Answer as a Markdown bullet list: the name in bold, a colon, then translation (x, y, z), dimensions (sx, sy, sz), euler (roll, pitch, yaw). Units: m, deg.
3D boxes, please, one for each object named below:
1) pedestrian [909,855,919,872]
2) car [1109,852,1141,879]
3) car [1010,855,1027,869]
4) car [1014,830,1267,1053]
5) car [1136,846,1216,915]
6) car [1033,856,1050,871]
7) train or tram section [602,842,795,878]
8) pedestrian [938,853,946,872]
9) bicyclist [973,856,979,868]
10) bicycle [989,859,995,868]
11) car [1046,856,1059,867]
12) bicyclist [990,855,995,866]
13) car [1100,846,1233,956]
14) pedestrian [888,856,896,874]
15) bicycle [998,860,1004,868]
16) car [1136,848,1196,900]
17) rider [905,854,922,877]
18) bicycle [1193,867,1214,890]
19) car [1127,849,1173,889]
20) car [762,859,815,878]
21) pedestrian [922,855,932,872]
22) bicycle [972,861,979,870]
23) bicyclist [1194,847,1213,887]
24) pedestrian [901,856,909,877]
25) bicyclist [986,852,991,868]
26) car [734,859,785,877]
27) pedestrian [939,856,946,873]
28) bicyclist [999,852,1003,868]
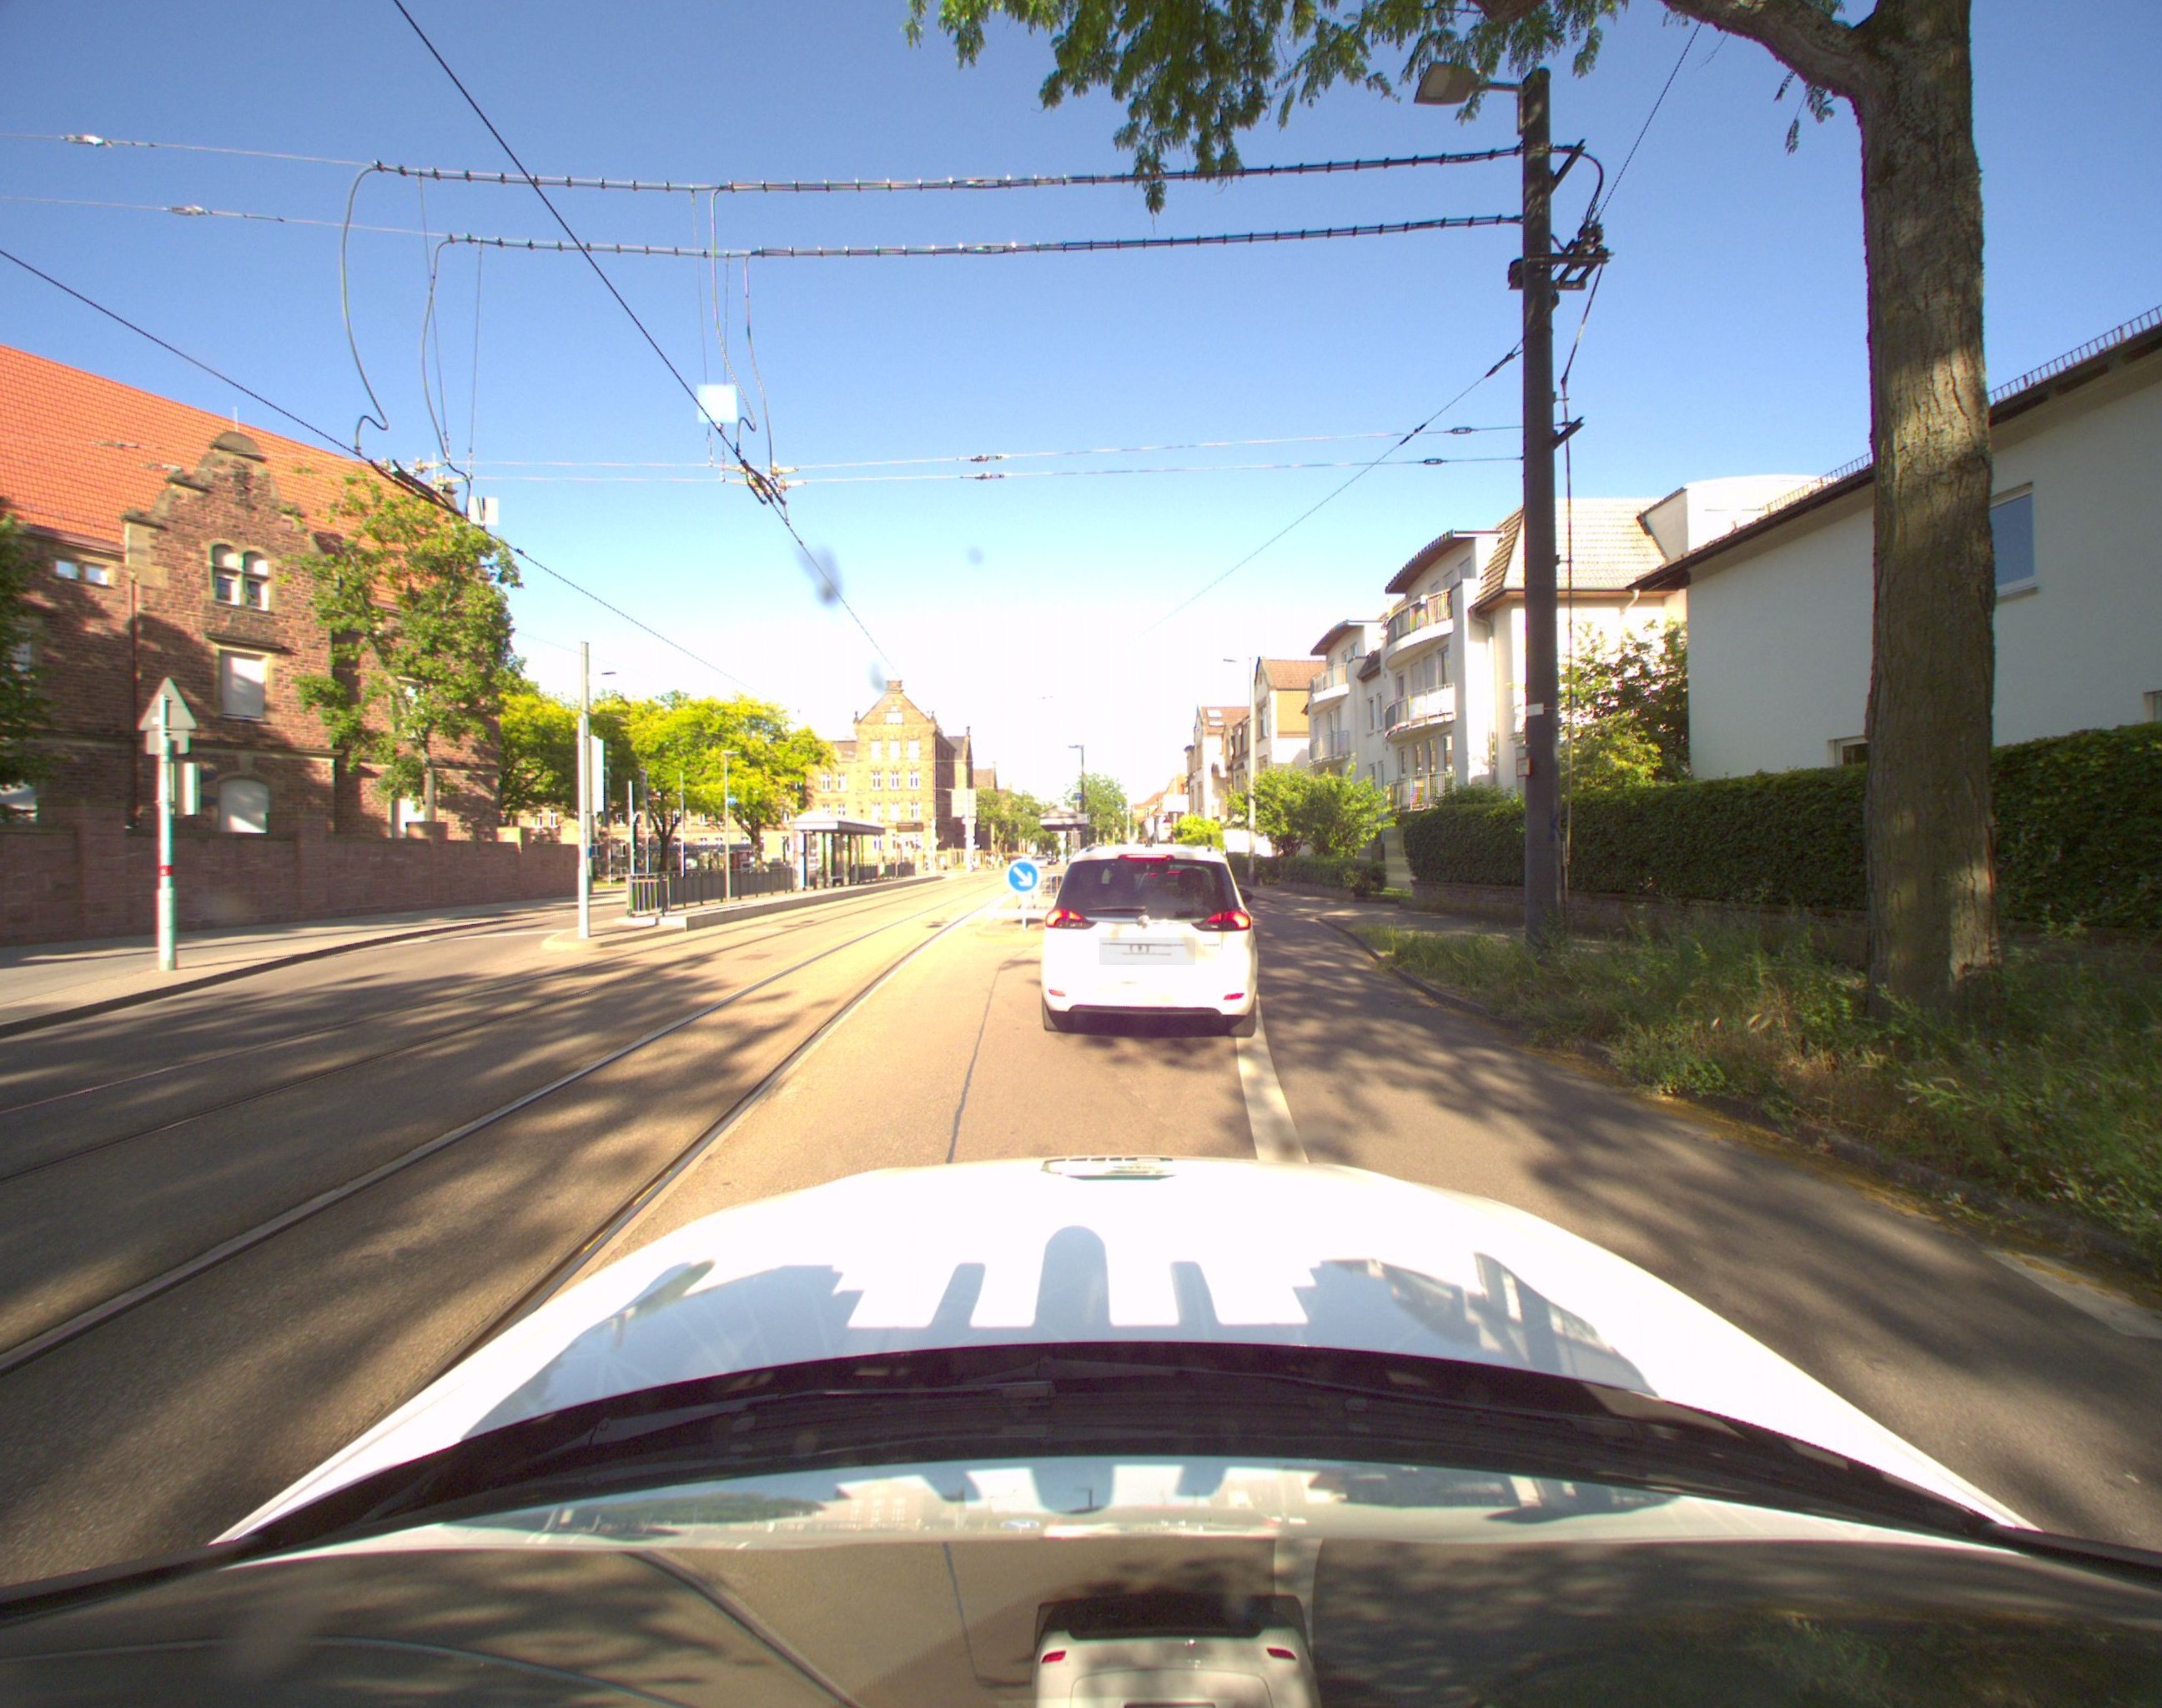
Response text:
- **pedestrian**: translation (-18.234, 1.021, 88.714), dimensions (0.802, 1.901, 0.747), euler (-1, -1, 16)
- **car**: translation (2.834, 0.750, 53.166), dimensions (1.901, 1.661, 4.000), euler (-1, 0, 0)
- **car**: translation (-8.083, 1.043, 106.046), dimensions (1.740, 1.716, 4.001), euler (0, -1, 2)
- **car**: translation (0.753, 0.666, 8.184), dimensions (1.896, 1.661, 4.010), euler (-1, 0, 9)
- **car**: translation (2.617, 0.639, 21.673), dimensions (1.896, 1.624, 4.010), euler (-1, 0, 9)
- **car**: translation (-4.808, 1.144, 99.073), dimensions (1.740, 1.716, 4.001), euler (0, -1, 2)
- **train or tram section**: translation (-37.855, 0.571, 81.125), dimensions (17.346, 3.154, 3.344), euler (-1, -1, -3)
- **pedestrian**: translation (-14.563, 0.864, 85.497), dimensions (0.796, 2.014, 0.717), euler (0, -1, -15)
- **bicyclist**: translation (-12.231, 0.942, 94.742), dimensions (0.529, 1.477, 0.572), euler (0, -1, 1)
- **bicycle**: translation (-11.209, 1.189, 103.098), dimensions (0.507, 1.077, 1.739), euler (0, -1, 2)
- **car**: translation (-4.272, 1.127, 123.846), dimensions (1.740, 1.716, 4.001), euler (0, -1, 2)
- **bicyclist**: translation (-11.194, 0.819, 103.285), dimensions (0.529, 1.477, 0.572), euler (0, -1, 1)
- **car**: translation (1.556, 0.689, 13.852), dimensions (1.896, 1.597, 4.010), euler (-1, 0, 9)
- **pedestrian**: translation (-18.753, 1.106, 80.769), dimensions (0.768, 1.774, 0.717), euler (0, -1, -15)
- **bicycle**: translation (-10.093, 1.263, 102.981), dimensions (0.485, 0.971, 1.406), euler (0, -1, 2)
- **car**: translation (2.971, 0.653, 28.330), dimensions (1.897, 1.661, 4.007), euler (-1, 0, 6)
- **rider**: translation (-13.228, 0.906, 64.461), dimensions (0.793, 1.782, 2.488), euler (0, -1, 1)
- **bicycle**: translation (5.094, 1.006, 33.915), dimensions (0.673, 0.925, 1.887), euler (-1, 0, 3)
- **car**: translation (2.991, 0.617, 36.173), dimensions (1.899, 1.661, 4.003), euler (-1, 0, 3)
- **car**: translation (-25.455, 1.235, 70.952), dimensions (3.976, 1.630, 1.817), euler (0, -1, -2)
- **pedestrian**: translation (-17.870, 1.091, 94.466), dimensions (0.712, 2.014, 0.802), euler (-1, -1, 25)
- **bicycle**: translation (-12.231, 1.349, 94.719), dimensions (0.507, 1.077, 1.739), euler (0, -1, 2)
- **bicyclist**: translation (5.090, 0.537, 33.898), dimensions (0.673, 1.658, 0.746), euler (-1, 0, 3)
- **pedestrian**: translation (-17.194, 1.217, 79.676), dimensions (0.795, 2.014, 1.042), euler (0, -1, -12)
- **bicyclist**: translation (-11.150, 0.715, 97.915), dimensions (0.496, 2.014, 0.572), euler (0, -1, 1)
- **car**: translation (-29.663, 1.311, 75.194), dimensions (3.976, 1.630, 1.817), euler (0, -1, -2)
- **pedestrian**: translation (-16.378, 1.224, 96.331), dimensions (0.686, 2.014, 0.618), euler (0, -1, 5)
- **bicyclist**: translation (-10.097, 0.748, 102.983), dimensions (0.486, 2.014, 0.502), euler (0, -1, 1)
